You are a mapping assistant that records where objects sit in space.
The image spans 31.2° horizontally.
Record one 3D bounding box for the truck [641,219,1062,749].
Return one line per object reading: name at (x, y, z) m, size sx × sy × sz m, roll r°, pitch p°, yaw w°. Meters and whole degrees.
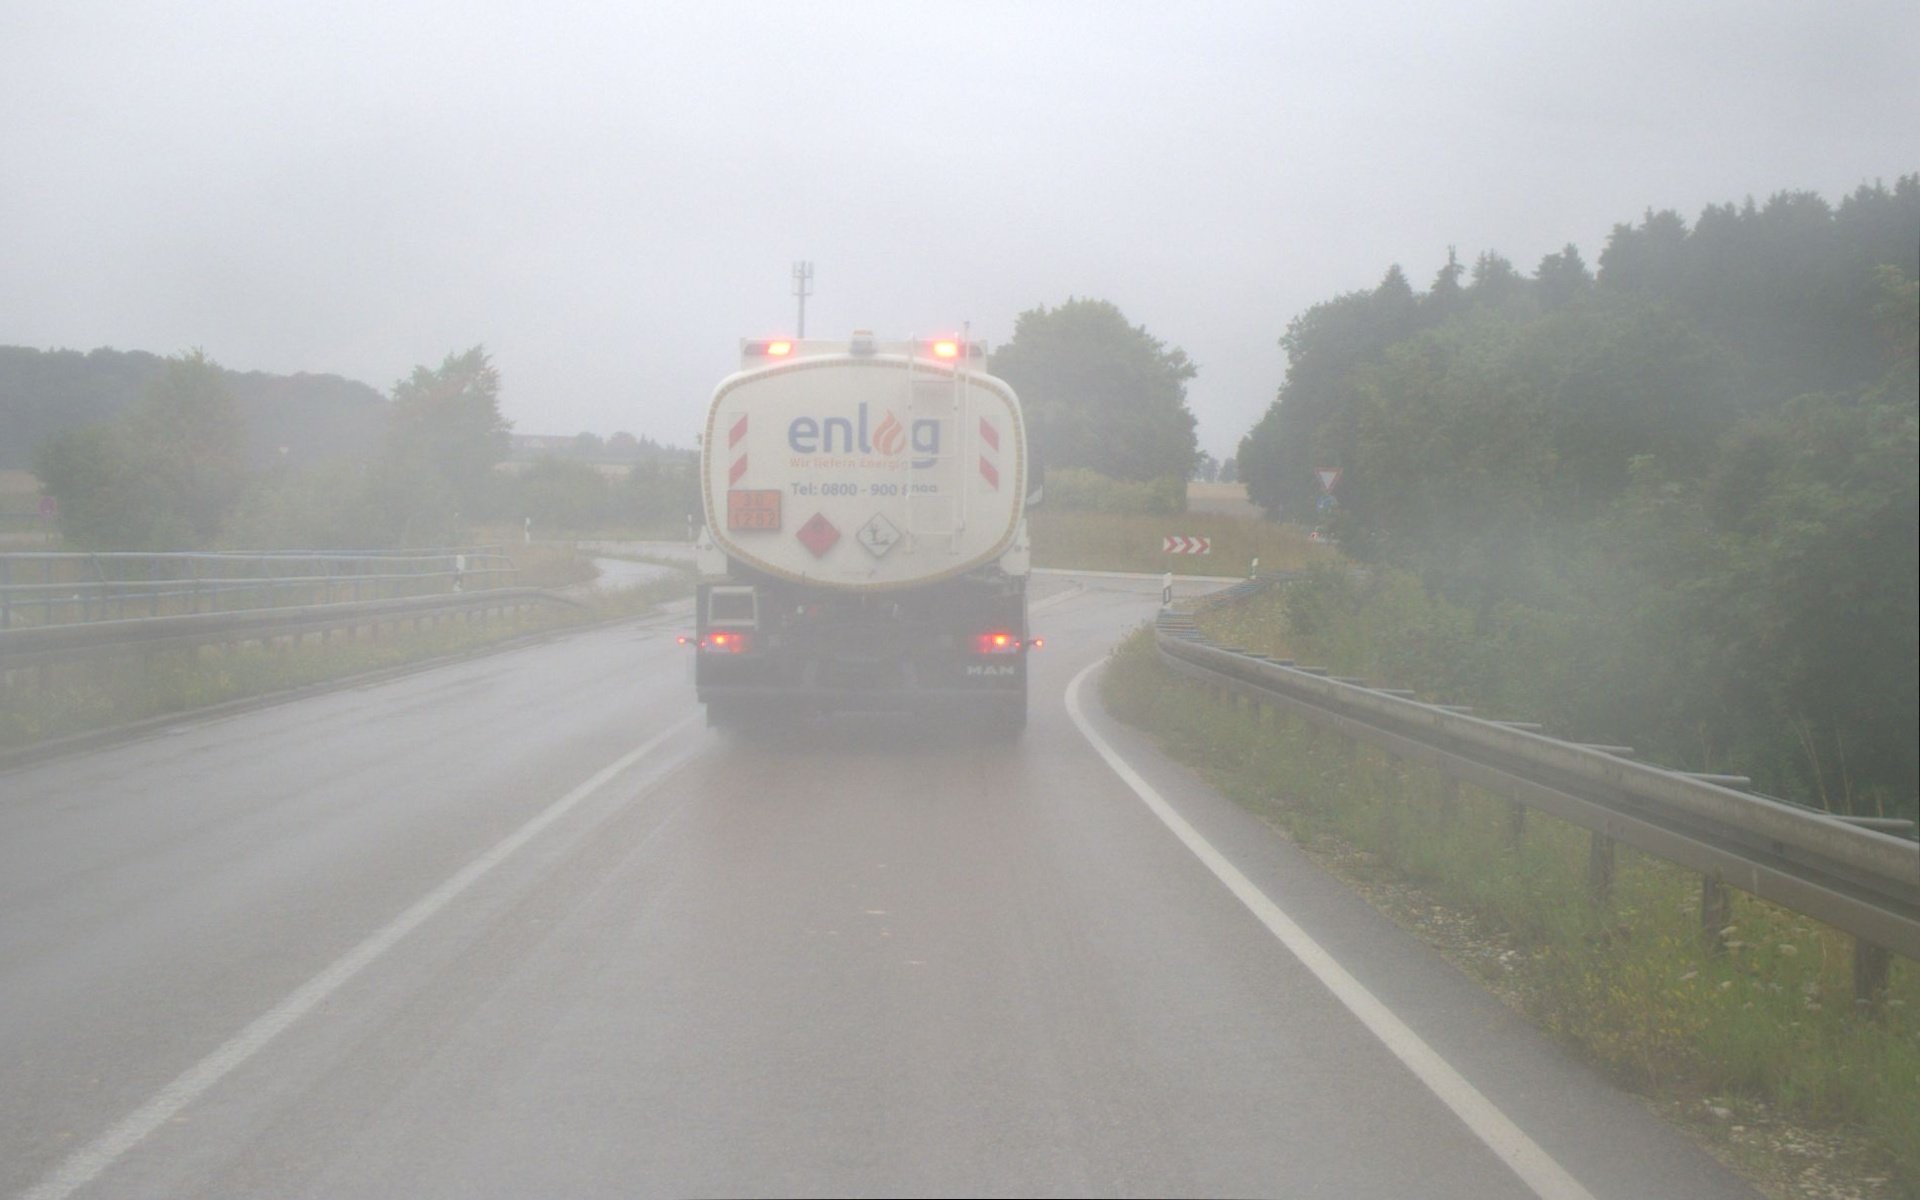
truck at (-0.779, -0.950, 29.503) m, size 3.039 × 3.838 × 8.823 m, roll 1°, pitch 1°, yaw 0°
